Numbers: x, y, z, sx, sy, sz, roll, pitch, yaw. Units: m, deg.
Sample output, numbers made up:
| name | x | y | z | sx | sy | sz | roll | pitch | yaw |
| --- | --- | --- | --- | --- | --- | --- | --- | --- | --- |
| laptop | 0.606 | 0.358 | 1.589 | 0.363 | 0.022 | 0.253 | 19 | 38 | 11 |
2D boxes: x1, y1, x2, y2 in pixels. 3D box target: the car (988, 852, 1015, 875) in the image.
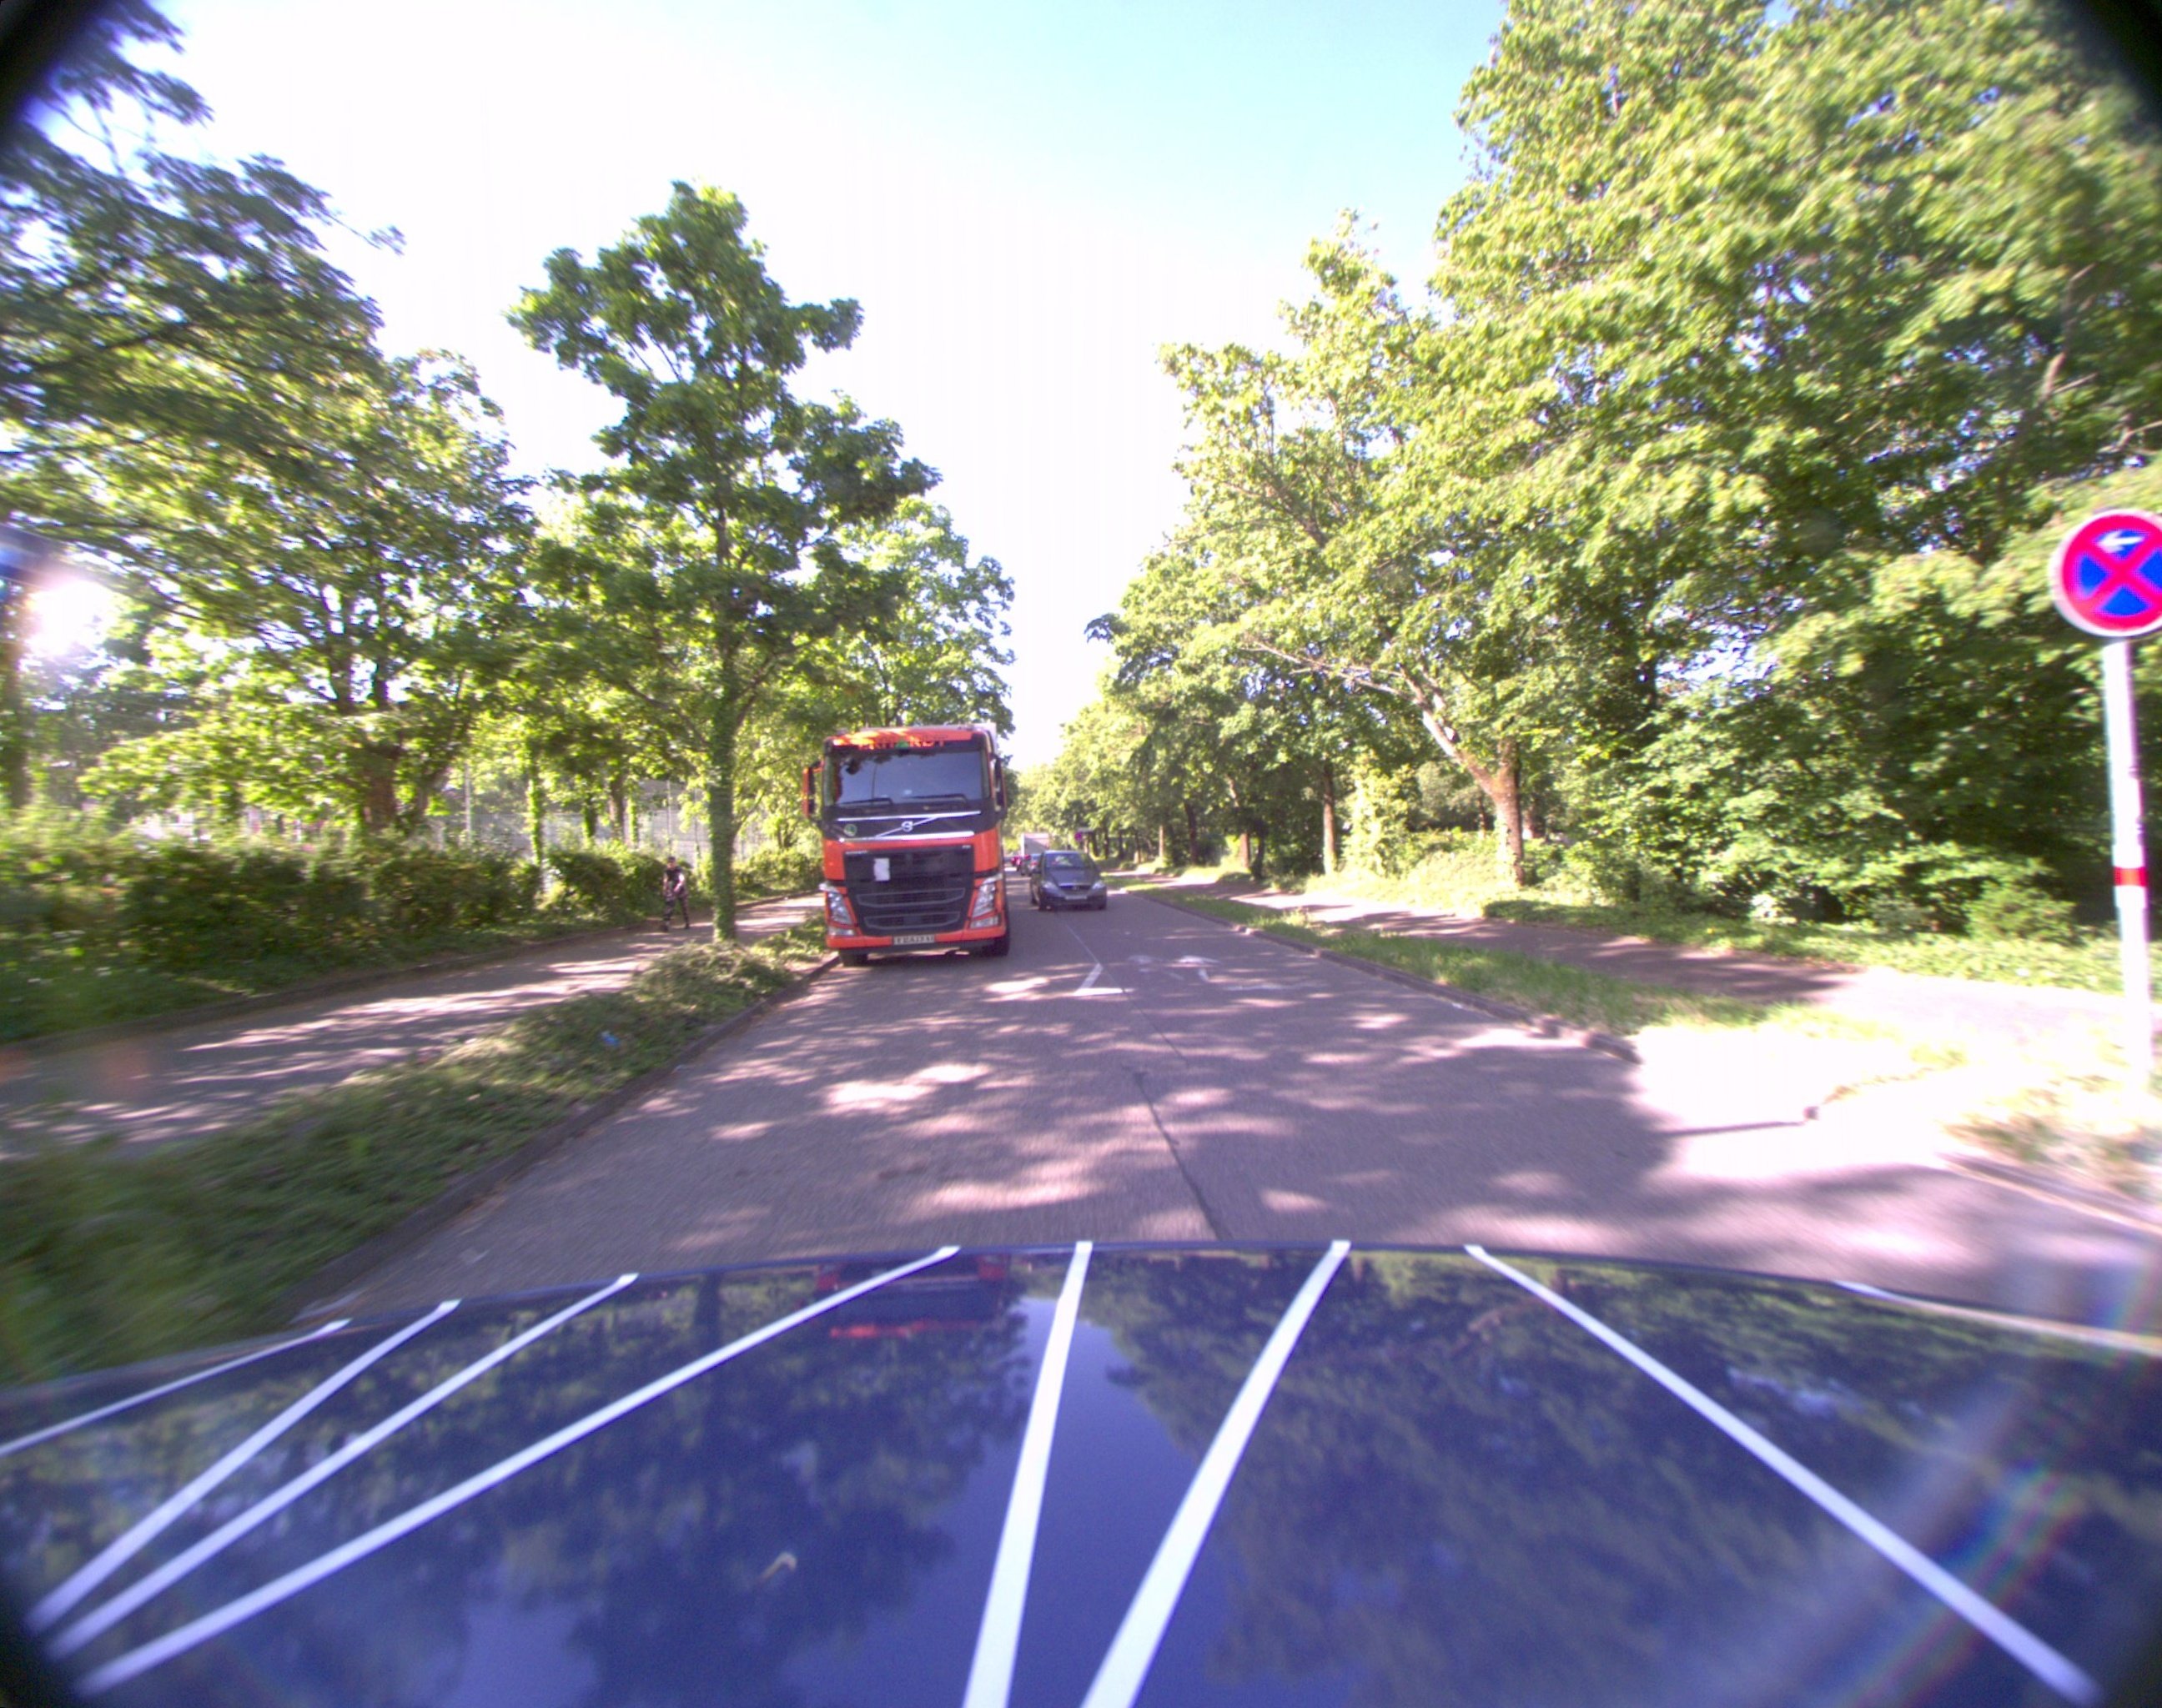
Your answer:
| name | x | y | z | sx | sy | sz | roll | pitch | yaw |
| --- | --- | --- | --- | --- | --- | --- | --- | --- | --- |
| car | -6.380 | 0.756 | 60.587 | 2.000 | 1.698 | 4.327 | -2 | 1 | -8 |

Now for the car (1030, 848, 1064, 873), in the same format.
| name | x | y | z | sx | sy | sz | roll | pitch | yaw |
| --- | --- | --- | --- | --- | --- | --- | --- | --- | --- |
| car | -2.403 | 0.415 | 52.562 | 1.976 | 1.576 | 3.997 | -2 | 1 | -7 |

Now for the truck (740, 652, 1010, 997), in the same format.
| name | x | y | z | sx | sy | sz | roll | pitch | yaw |
| --- | --- | --- | --- | --- | --- | --- | --- | --- | --- |
| truck | -3.092 | -0.424 | 14.988 | 3.168 | 4.320 | 10.577 | -2 | 1 | -5 |

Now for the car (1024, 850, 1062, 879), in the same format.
| name | x | y | z | sx | sy | sz | roll | pitch | yaw |
| --- | --- | --- | --- | --- | --- | --- | --- | --- | --- |
| car | -2.341 | 0.607 | 45.964 | 2.000 | 1.576 | 3.997 | -2 | 1 | -7 |

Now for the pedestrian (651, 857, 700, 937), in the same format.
| name | x | y | z | sx | sy | sz | roll | pitch | yaw |
| --- | --- | --- | --- | --- | --- | --- | --- | --- | --- |
| pedestrian | -8.554 | 0.887 | 16.049 | 0.642 | 1.629 | 0.641 | -2 | 1 | -3 |

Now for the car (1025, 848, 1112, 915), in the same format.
| name | x | y | z | sx | sy | sz | roll | pitch | yaw |
| --- | --- | --- | --- | --- | --- | --- | --- | --- | --- |
| car | -0.443 | 0.695 | 21.047 | 1.856 | 1.635 | 3.753 | -2 | 0 | -9 |

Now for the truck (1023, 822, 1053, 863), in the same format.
| name | x | y | z | sx | sy | sz | roll | pitch | yaw |
| --- | --- | --- | --- | --- | --- | --- | --- | --- | --- |
| truck | -4.564 | -1.256 | 79.653 | 2.805 | 3.996 | 9.619 | 0 | 1 | -5 |
